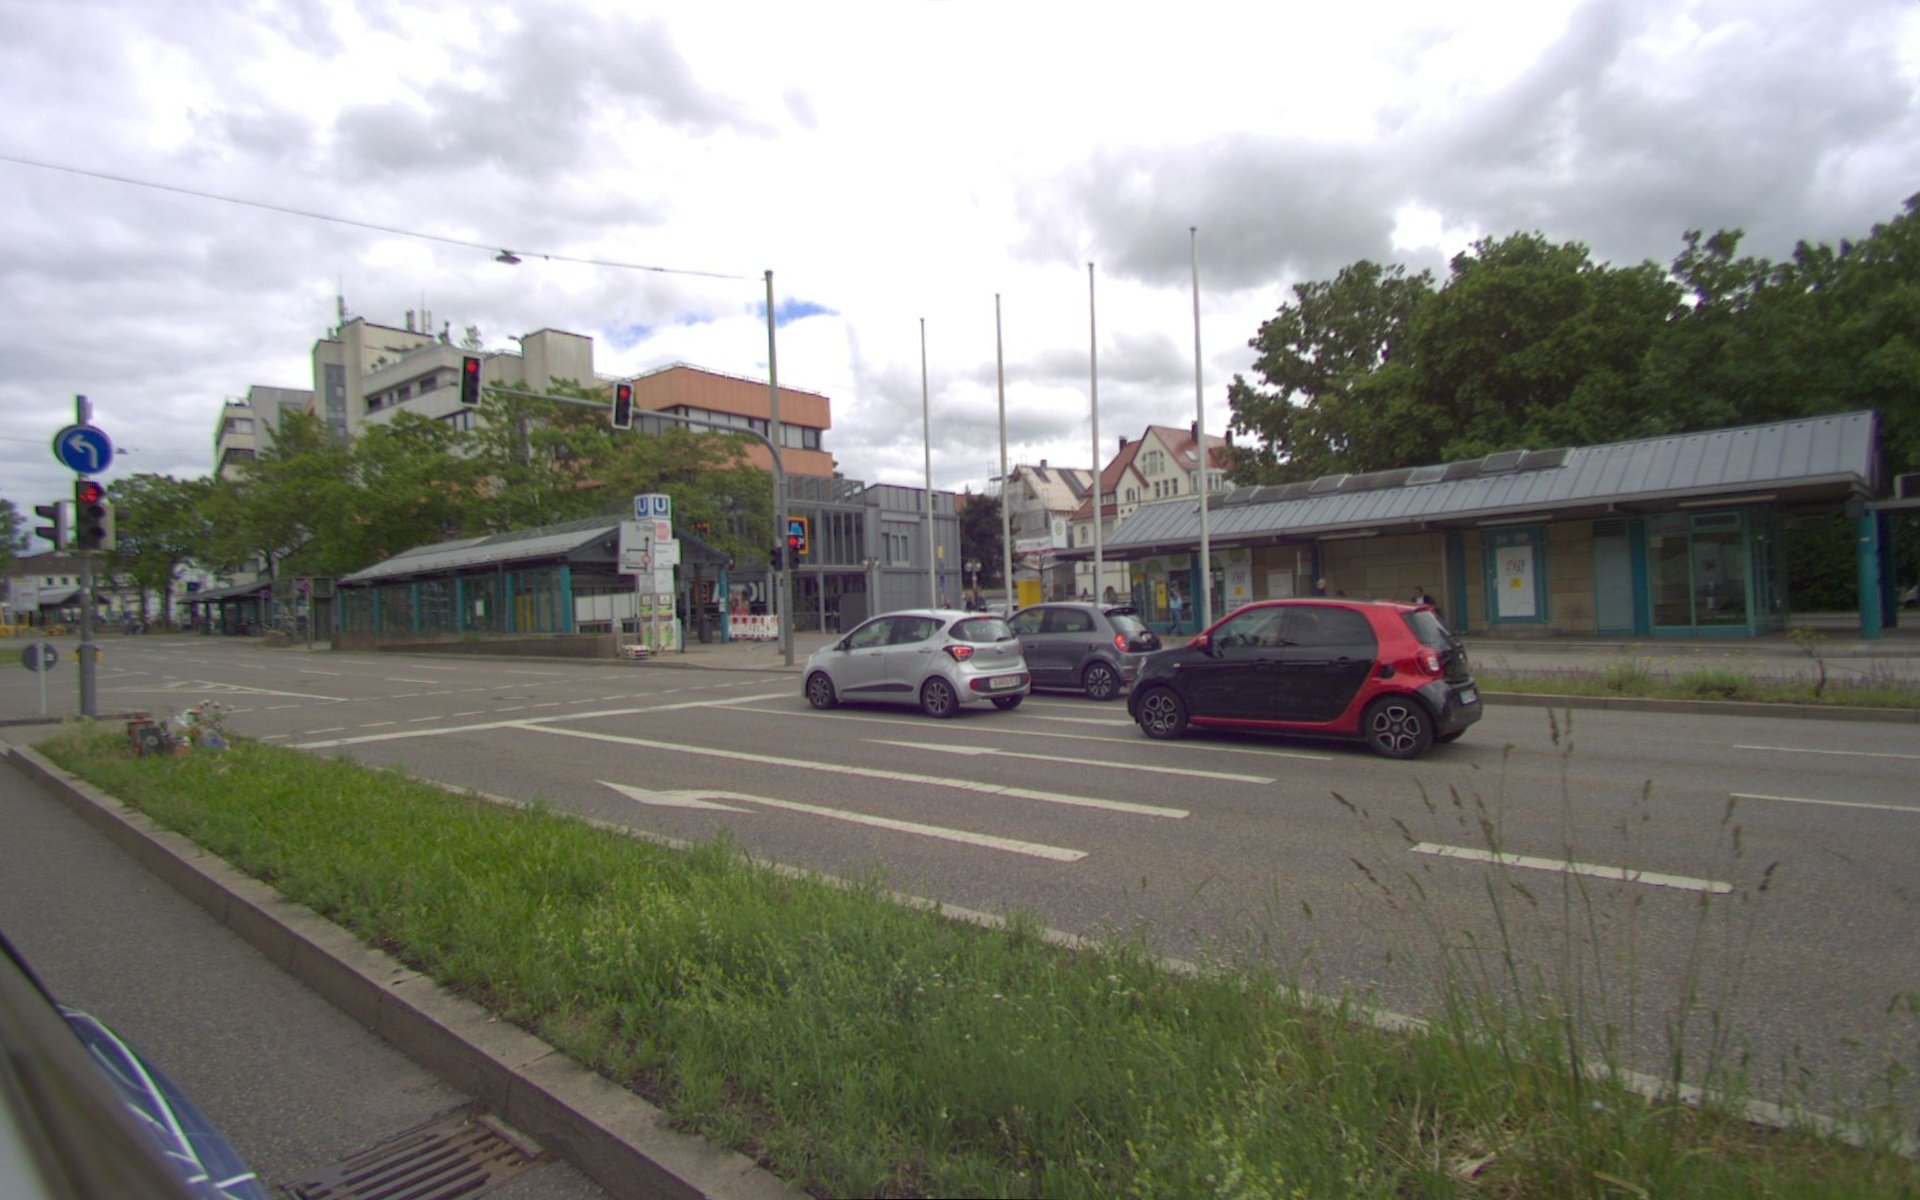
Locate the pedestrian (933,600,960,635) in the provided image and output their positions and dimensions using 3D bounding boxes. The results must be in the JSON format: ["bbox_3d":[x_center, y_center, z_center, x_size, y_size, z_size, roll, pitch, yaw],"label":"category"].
[{"bbox_3d":[-0.600,0.758,43.339,0.992,1.472,0.583,-2,0,42],"label":"pedestrian"}]

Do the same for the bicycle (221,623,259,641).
[{"bbox_3d":[-50.113,2.242,70.487,0.542,1.098,2.042,-1,1,42],"label":"bicycle"}]

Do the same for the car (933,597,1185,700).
[{"bbox_3d":[1.581,0.747,17.113,4.001,1.519,1.795,-1,0,44],"label":"car"}]

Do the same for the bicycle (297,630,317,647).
[{"bbox_3d":[-39.445,2.318,61.093,2.051,1.034,0.514,-2,1,44],"label":"bicycle"}]

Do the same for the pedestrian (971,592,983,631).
[{"bbox_3d":[0.678,0.455,40.477,0.378,1.559,0.485,-2,0,-2],"label":"pedestrian"}]

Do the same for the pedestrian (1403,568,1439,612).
[{"bbox_3d":[11.953,-0.262,26.251,0.658,1.129,0.612,-1,0,44],"label":"pedestrian"}]

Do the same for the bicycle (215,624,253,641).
[{"bbox_3d":[-51.509,2.310,71.811,0.542,1.098,2.042,-1,1,42],"label":"bicycle"}]

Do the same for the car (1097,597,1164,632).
[{"bbox_3d":[9.401,0.801,55.602,1.996,1.696,3.951,-2,1,36],"label":"car"}]

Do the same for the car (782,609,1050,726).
[{"bbox_3d":[-0.725,0.908,14.954,3.787,1.476,1.727,-1,0,40],"label":"car"}]

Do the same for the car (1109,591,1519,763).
[{"bbox_3d":[3.643,0.699,10.747,3.765,1.519,1.642,-1,0,40],"label":"car"}]

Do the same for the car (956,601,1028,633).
[{"bbox_3d":[1.803,0.923,55.863,1.997,1.608,3.950,-1,0,37],"label":"car"}]

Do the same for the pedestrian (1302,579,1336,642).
[{"bbox_3d":[9.687,0.278,27.290,0.658,1.662,0.612,-1,0,44],"label":"pedestrian"}]

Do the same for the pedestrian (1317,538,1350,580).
[{"bbox_3d":[10.404,-1.123,28.223,0.658,1.129,0.612,-1,0,44],"label":"pedestrian"}]

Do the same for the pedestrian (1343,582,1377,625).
[{"bbox_3d":[10.846,0.093,27.471,0.658,1.129,0.612,-1,0,44],"label":"pedestrian"}]

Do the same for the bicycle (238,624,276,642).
[{"bbox_3d":[-48.059,2.246,69.195,0.541,1.147,2.045,-1,1,37],"label":"bicycle"}]

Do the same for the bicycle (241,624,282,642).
[{"bbox_3d":[-47.417,2.215,68.741,0.541,1.098,2.180,-1,1,37],"label":"bicycle"}]

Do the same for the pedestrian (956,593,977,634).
[{"bbox_3d":[0.261,0.538,39.301,0.743,1.559,0.531,-2,0,-2],"label":"pedestrian"}]

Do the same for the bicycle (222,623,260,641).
[{"bbox_3d":[-50.682,2.268,71.351,0.542,1.147,2.042,-1,1,42],"label":"bicycle"}]

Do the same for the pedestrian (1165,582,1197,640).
[{"bbox_3d":[6.397,0.325,29.338,0.658,1.662,0.612,-1,0,44],"label":"pedestrian"}]

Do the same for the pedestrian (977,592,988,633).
[{"bbox_3d":[0.890,0.490,39.909,0.378,1.559,0.485,-2,0,-2],"label":"pedestrian"}]
